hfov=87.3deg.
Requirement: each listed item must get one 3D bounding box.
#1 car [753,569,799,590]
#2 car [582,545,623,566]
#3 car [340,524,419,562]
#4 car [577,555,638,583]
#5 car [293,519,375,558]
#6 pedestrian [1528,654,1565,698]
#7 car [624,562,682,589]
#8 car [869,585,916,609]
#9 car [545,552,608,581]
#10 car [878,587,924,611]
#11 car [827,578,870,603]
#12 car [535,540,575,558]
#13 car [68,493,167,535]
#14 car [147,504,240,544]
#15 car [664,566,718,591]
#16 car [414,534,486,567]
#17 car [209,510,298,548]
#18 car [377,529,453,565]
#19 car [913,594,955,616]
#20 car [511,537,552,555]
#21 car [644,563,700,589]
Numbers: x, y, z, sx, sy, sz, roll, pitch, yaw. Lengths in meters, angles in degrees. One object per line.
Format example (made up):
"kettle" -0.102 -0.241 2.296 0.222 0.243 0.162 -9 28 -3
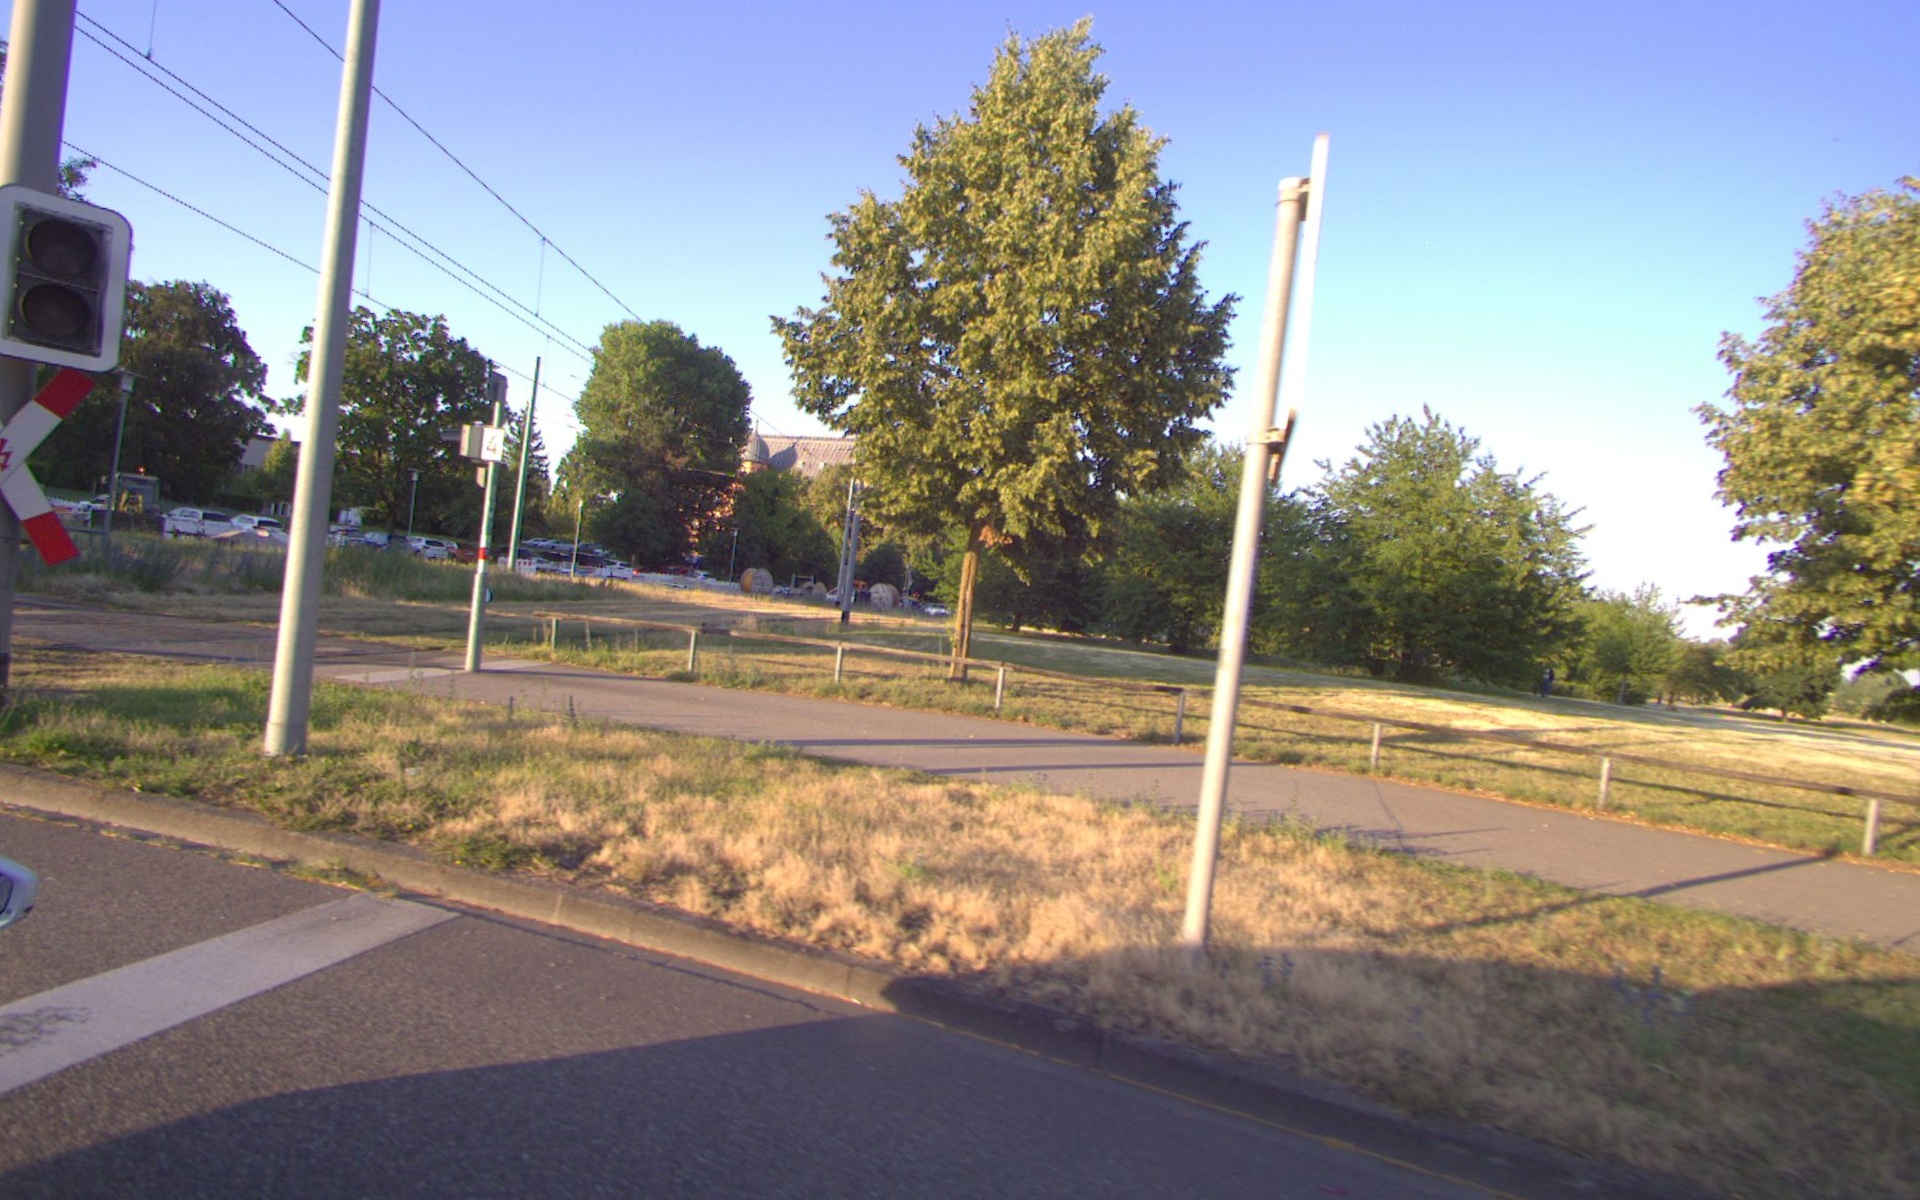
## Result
"car" -17.260 -1.901 94.385 3.611 1.370 1.800 8 -1 20
"car" -40.194 -5.030 113.273 1.964 1.766 3.996 8 1 26
"car" -34.246 -3.362 59.319 3.927 1.682 1.952 7 0 23
"car" -26.262 -2.327 74.898 3.927 1.573 1.902 7 0 23
"car" -35.723 -3.518 57.402 3.927 1.682 1.952 7 0 23
"pedestrian" 27.120 3.508 46.532 1.095 1.887 0.902 7 1 -35
"car" -24.084 -1.905 78.841 3.927 1.573 1.902 7 0 23
"car" -5.908 -0.226 87.893 3.544 1.499 1.712 8 -1 20
"car" -27.577 -2.399 72.369 3.927 1.573 1.902 7 0 23
"car" -5.261 -0.090 89.815 3.544 1.499 1.712 8 -1 20
"car" -11.739 -0.995 105.837 3.927 2.121 1.902 7 0 23
"car" -47.197 -5.926 117.394 1.870 1.573 3.995 7 0 27
"car" -40.153 -4.090 47.945 3.927 1.463 1.952 7 0 23
"car" -38.520 -3.798 50.563 3.927 1.463 1.952 7 0 23
"car" -22.301 -1.762 83.402 3.927 1.573 1.902 7 0 23
"car" -32.423 -3.119 63.923 3.927 1.573 1.902 7 0 23
"car" -37.047 -3.704 52.777 3.927 1.463 1.952 7 0 23
"car" -33.193 -3.222 61.286 3.927 1.682 1.952 7 0 23
"car" -2.474 0.458 96.052 3.544 1.499 1.712 8 -1 20
"car" -50.599 -6.374 118.857 1.870 1.573 3.995 7 0 27
"car" -23.219 -1.949 81.118 3.927 1.573 1.902 7 0 23
